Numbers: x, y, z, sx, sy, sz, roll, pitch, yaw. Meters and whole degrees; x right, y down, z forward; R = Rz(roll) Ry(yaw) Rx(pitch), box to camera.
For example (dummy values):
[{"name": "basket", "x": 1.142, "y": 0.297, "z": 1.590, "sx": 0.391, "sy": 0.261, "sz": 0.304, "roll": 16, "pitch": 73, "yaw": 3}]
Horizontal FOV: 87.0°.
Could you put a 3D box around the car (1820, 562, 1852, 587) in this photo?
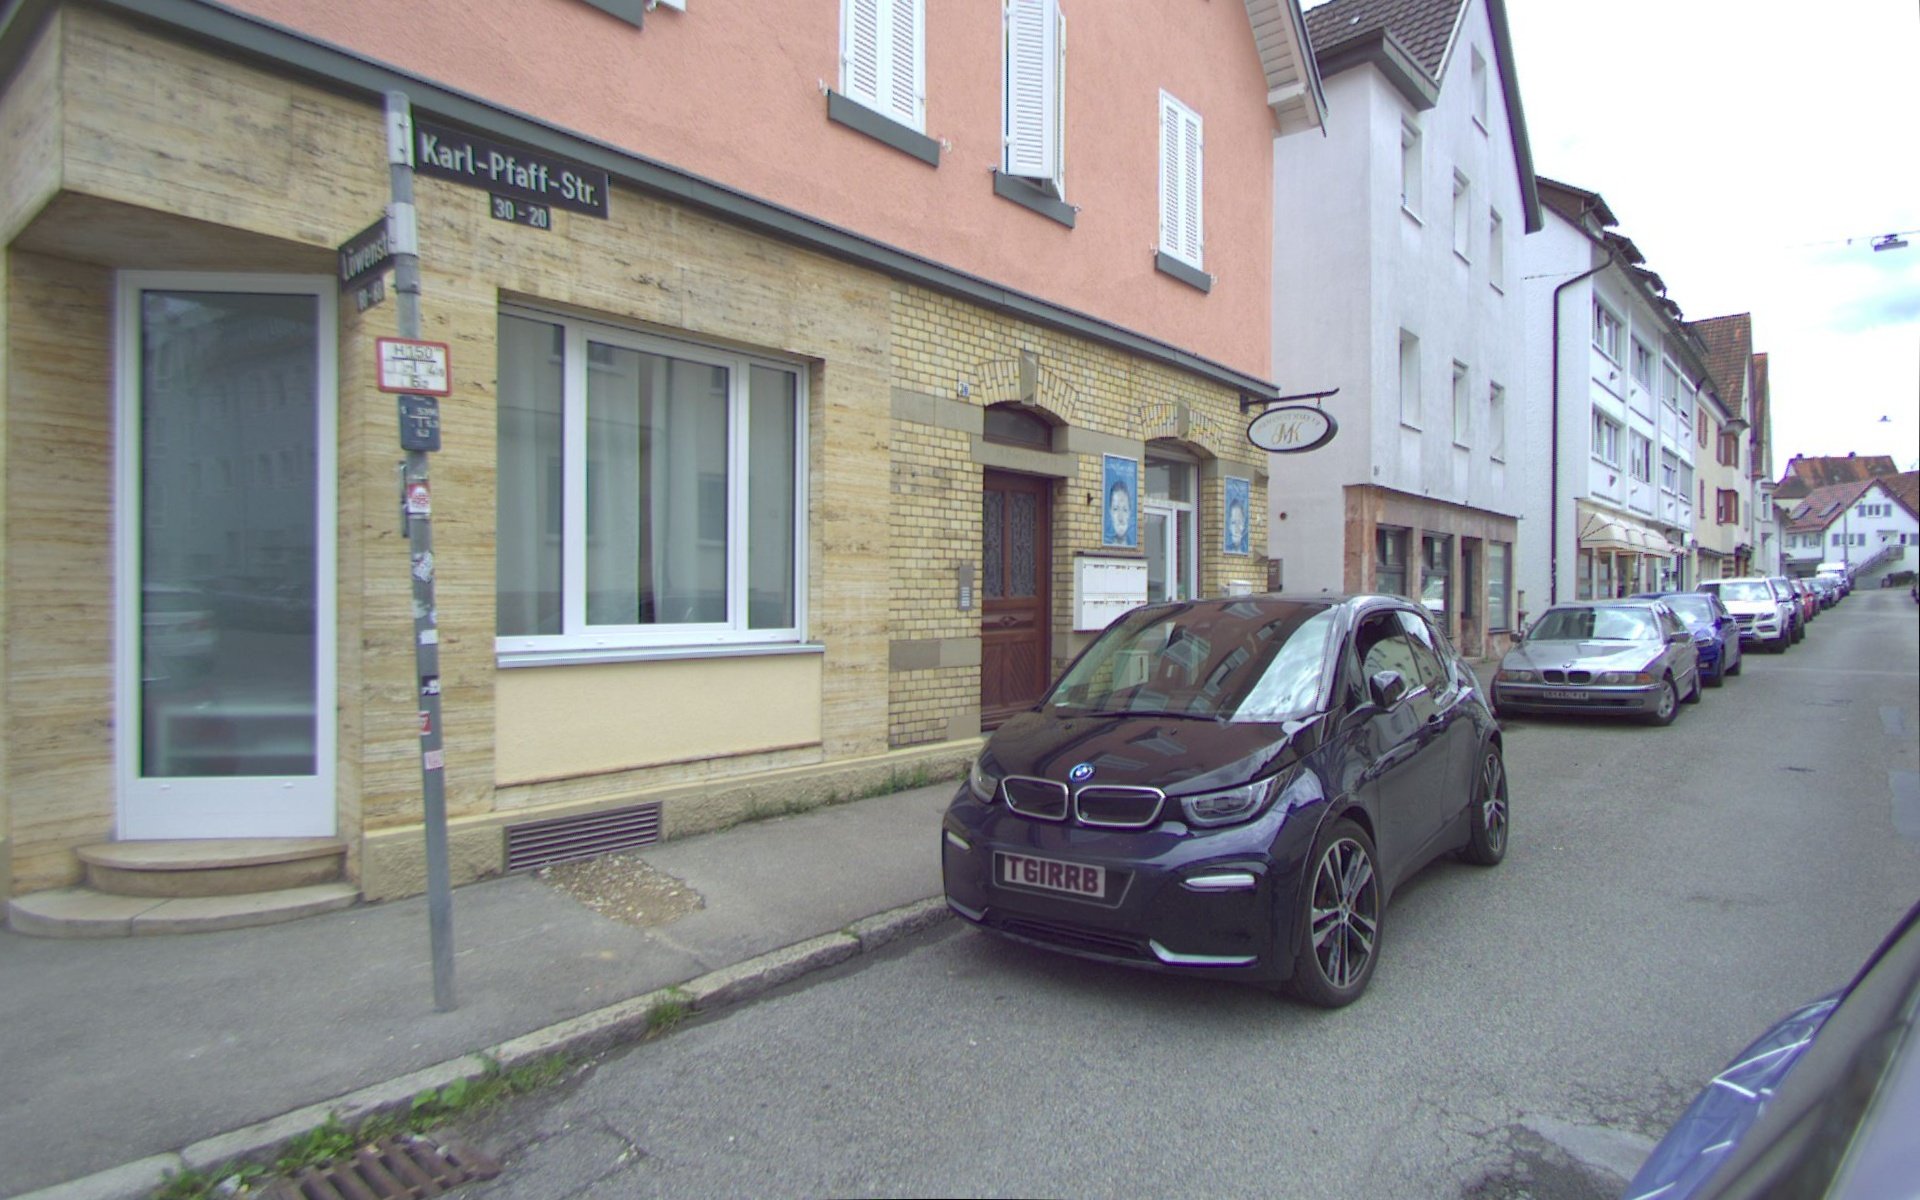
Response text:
[{"name": "car", "x": 66.396, "y": -1.938, "z": 76.697, "sx": 1.601, "sy": 1.748, "sz": 3.497, "roll": -4, "pitch": -1, "yaw": 43}]

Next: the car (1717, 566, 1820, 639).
[{"name": "car", "x": 22.208, "y": 0.004, "z": 27.738, "sx": 1.895, "sy": 1.812, "sz": 4.278, "roll": -1, "pitch": 1, "yaw": 43}]

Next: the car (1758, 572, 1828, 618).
[{"name": "car", "x": 31.530, "y": -0.215, "z": 38.270, "sx": 1.669, "sy": 1.547, "sz": 3.926, "roll": -4, "pitch": -1, "yaw": 44}]

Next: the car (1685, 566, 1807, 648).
[{"name": "car", "x": 18.627, "y": 0.095, "z": 23.912, "sx": 1.895, "sy": 1.726, "sz": 4.425, "roll": -1, "pitch": 1, "yaw": 43}]

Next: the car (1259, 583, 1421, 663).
[{"name": "car", "x": 8.036, "y": 0.425, "z": 21.233, "sx": 3.947, "sy": 1.450, "sz": 1.644, "roll": -3, "pitch": 1, "yaw": -44}]

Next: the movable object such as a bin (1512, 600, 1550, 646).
[{"name": "movable object such as a bin", "x": 12.153, "y": 0.483, "z": 21.535, "sx": 0.569, "sy": 0.941, "sz": 0.513, "roll": 4, "pitch": 3, "yaw": 44}]

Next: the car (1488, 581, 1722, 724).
[{"name": "car", "x": 8.402, "y": 0.560, "z": 12.989, "sx": 1.785, "sy": 1.435, "sz": 4.510, "roll": -3, "pitch": 0, "yaw": 42}]

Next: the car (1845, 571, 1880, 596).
[{"name": "car", "x": 59.978, "y": -1.120, "z": 67.221, "sx": 1.601, "sy": 1.491, "sz": 3.497, "roll": -4, "pitch": -1, "yaw": 43}]

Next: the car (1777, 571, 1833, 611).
[{"name": "car", "x": 36.655, "y": -0.413, "z": 43.856, "sx": 1.601, "sy": 1.547, "sz": 3.928, "roll": -4, "pitch": -1, "yaw": 43}]

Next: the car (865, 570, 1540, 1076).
[{"name": "car", "x": 1.567, "y": 0.681, "z": 5.260, "sx": 1.815, "sy": 1.563, "sz": 3.969, "roll": -2, "pitch": -1, "yaw": 40}]

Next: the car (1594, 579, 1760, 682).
[{"name": "car", "x": 12.086, "y": 0.435, "z": 16.964, "sx": 1.751, "sy": 1.450, "sz": 3.868, "roll": -1, "pitch": 1, "yaw": 43}]

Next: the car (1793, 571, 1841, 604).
[{"name": "car", "x": 43.161, "y": -0.633, "z": 50.922, "sx": 1.601, "sy": 1.491, "sz": 3.928, "roll": -4, "pitch": -1, "yaw": 43}]

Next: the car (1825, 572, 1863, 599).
[{"name": "car", "x": 53.892, "y": -0.892, "z": 61.688, "sx": 1.601, "sy": 1.491, "sz": 3.497, "roll": -4, "pitch": -1, "yaw": 43}]
